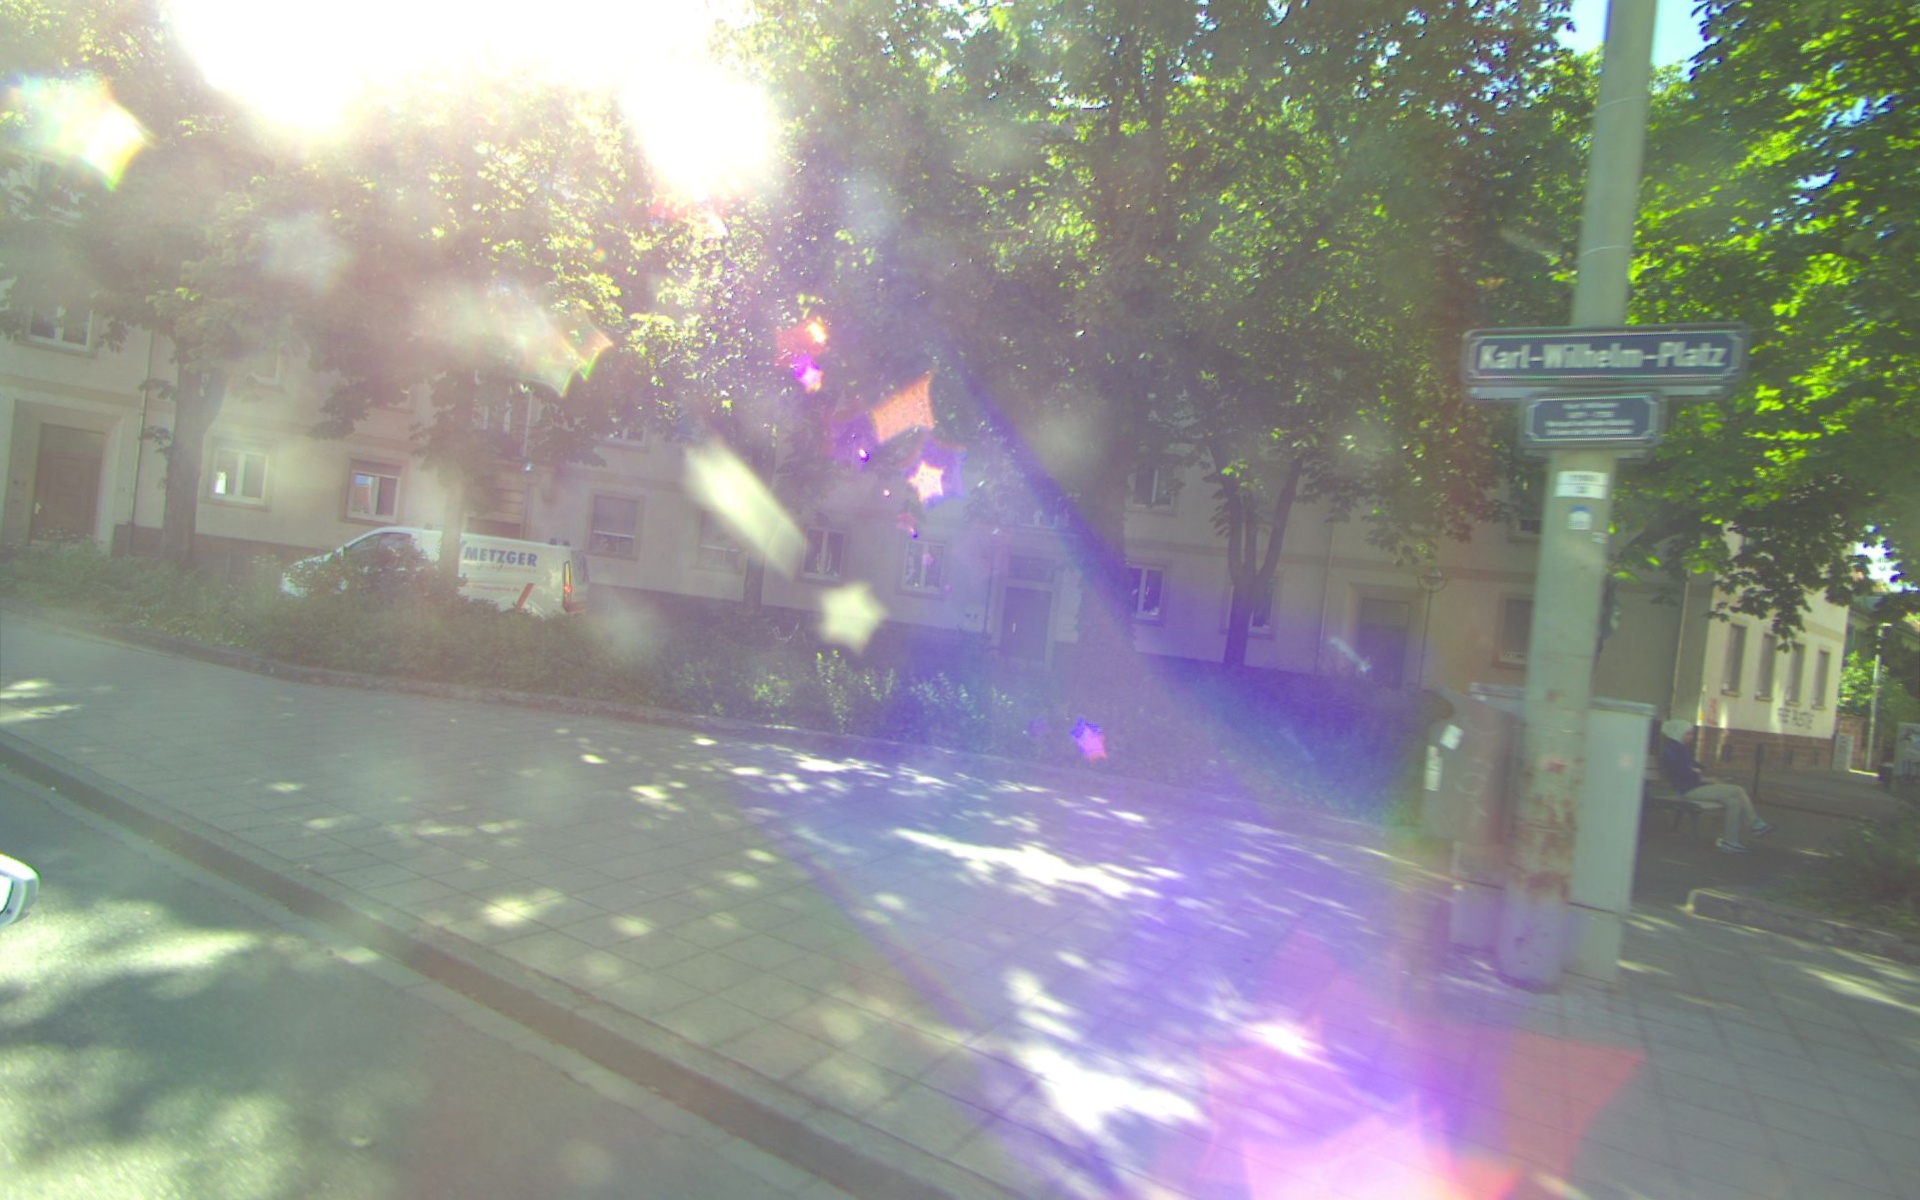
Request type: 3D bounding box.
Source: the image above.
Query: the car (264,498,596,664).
[{"bbox_3d":[-9.136,-0.268,17.763,4.681,2.116,1.684,8,-2,-12],"label":"car"}]

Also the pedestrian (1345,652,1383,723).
[{"bbox_3d":[9.999,2.161,24.889,0.619,1.653,0.571,7,-1,31],"label":"pedestrian"}]

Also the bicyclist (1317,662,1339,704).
[{"bbox_3d":[8.853,2.004,24.230,0.386,0.955,0.339,7,-1,19],"label":"bicyclist"}]

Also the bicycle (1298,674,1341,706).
[{"bbox_3d":[8.691,2.169,24.321,0.900,0.644,0.433,7,-1,19],"label":"bicycle"}]

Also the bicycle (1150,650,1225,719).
[{"bbox_3d":[5.086,1.875,22.509,1.460,1.296,0.428,8,2,12],"label":"bicycle"}]

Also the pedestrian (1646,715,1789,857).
[{"bbox_3d":[7.762,1.879,10.356,1.023,1.246,0.450,7,-1,32],"label":"pedestrian"}]

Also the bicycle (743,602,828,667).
[{"bbox_3d":[-4.144,0.812,23.969,1.798,1.296,0.427,8,2,-3],"label":"bicycle"}]

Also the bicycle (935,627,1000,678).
[{"bbox_3d":[0.179,1.338,25.798,1.537,1.130,0.461,6,2,-3],"label":"bicycle"}]
